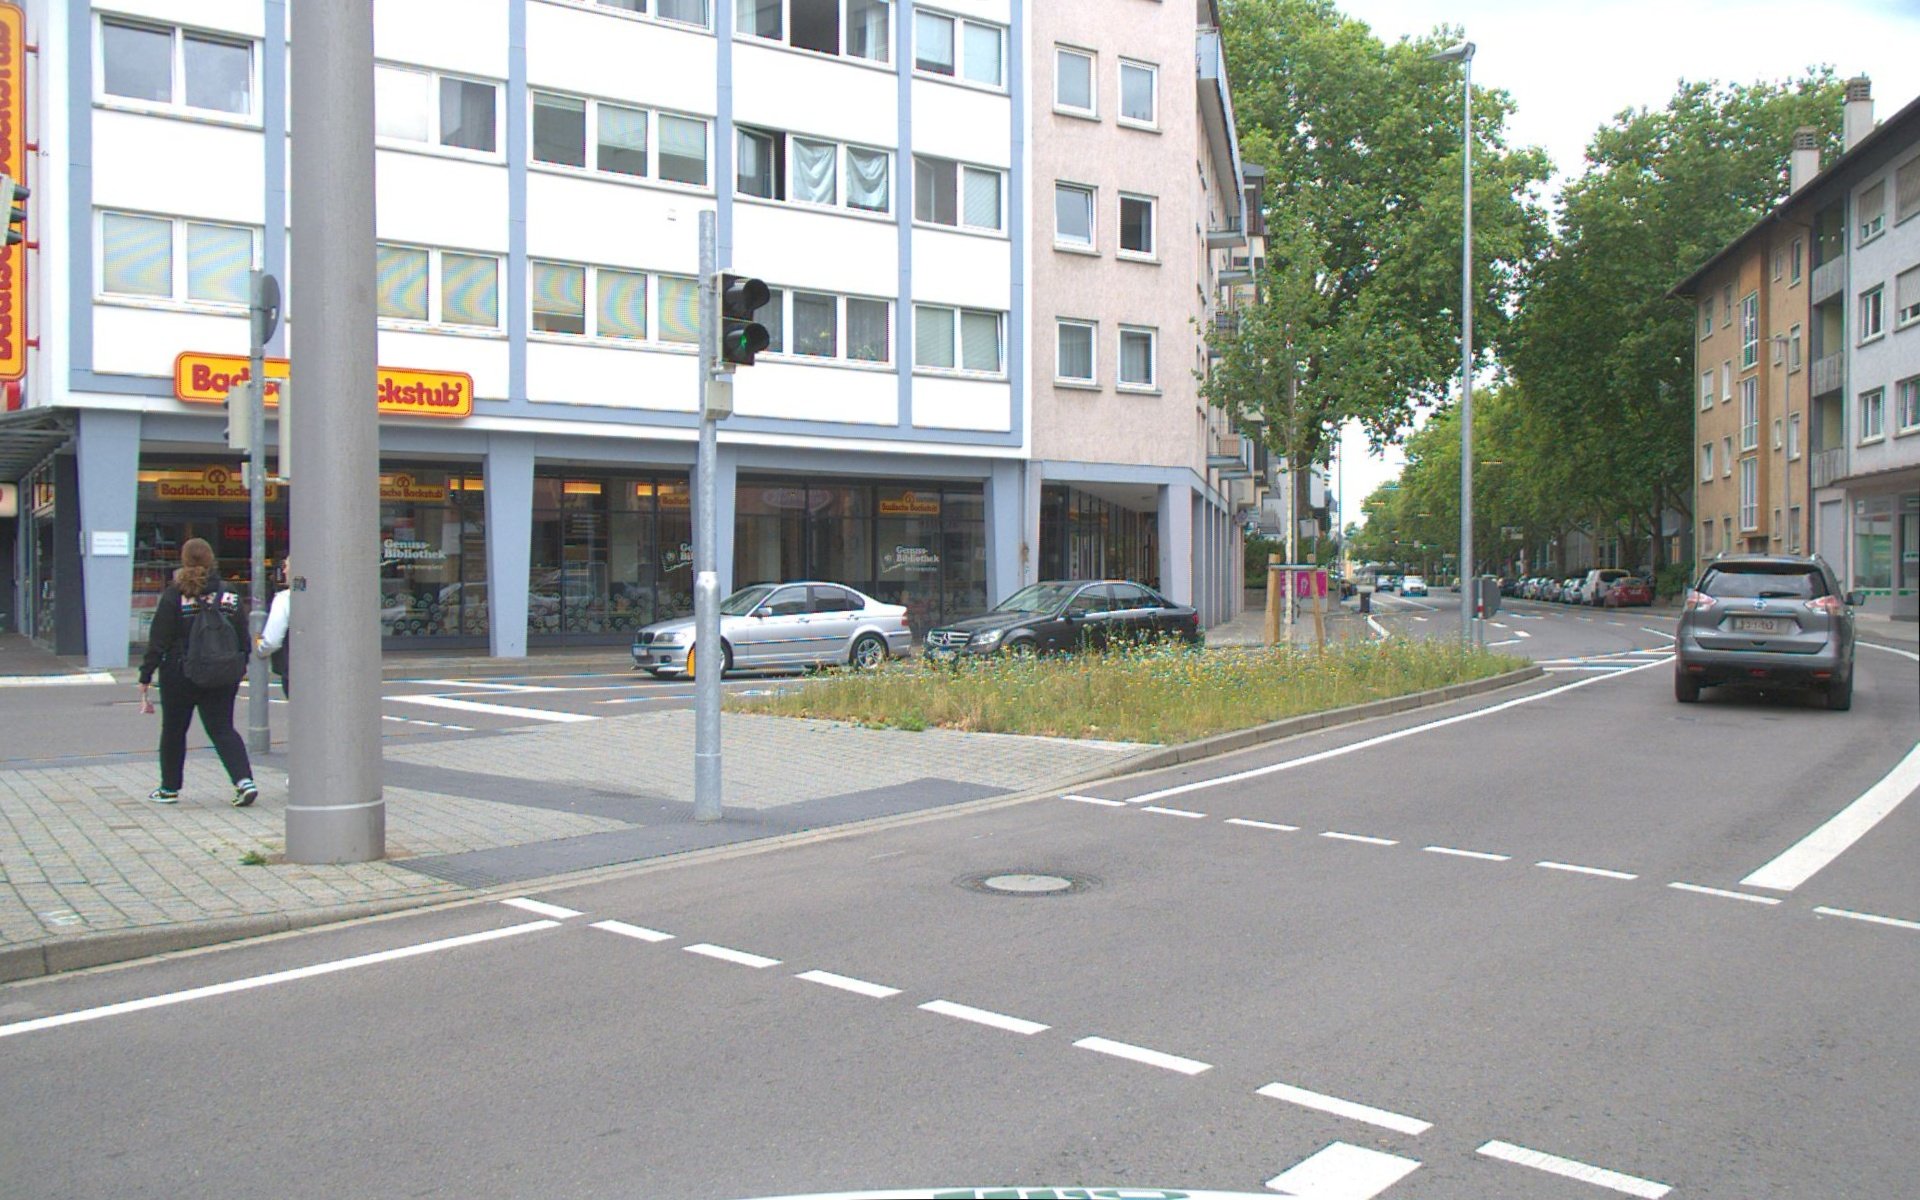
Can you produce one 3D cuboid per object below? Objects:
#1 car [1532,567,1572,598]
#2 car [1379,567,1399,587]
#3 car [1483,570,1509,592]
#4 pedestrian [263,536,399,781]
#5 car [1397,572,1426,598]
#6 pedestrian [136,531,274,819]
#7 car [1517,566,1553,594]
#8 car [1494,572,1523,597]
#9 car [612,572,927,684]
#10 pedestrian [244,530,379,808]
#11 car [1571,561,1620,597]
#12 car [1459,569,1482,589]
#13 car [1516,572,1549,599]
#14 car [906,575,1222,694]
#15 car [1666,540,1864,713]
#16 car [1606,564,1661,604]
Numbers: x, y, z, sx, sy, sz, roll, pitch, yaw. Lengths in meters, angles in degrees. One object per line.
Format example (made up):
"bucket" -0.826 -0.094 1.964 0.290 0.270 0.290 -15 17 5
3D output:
"car" 36.079 -1.100 100.843 1.823 1.805 3.987 1 2 14
"car" 42.138 -2.265 162.407 1.823 1.805 3.987 1 2 14
"car" 46.575 -1.679 143.787 1.823 1.805 3.987 1 2 14
"pedestrian" -5.037 0.443 13.230 0.709 1.864 1.002 1 0 -41
"car" 32.569 -1.122 119.389 1.823 1.805 3.987 1 2 14
"pedestrian" -4.923 0.467 10.782 0.617 1.792 0.768 1 0 -41
"car" 38.550 -1.351 110.944 1.823 1.805 3.987 1 2 14
"car" 42.523 -1.231 128.277 1.823 1.805 3.987 1 2 14
"car" -2.834 0.371 25.139 4.516 1.507 1.726 -2 1 -36
"pedestrian" -4.393 0.445 11.197 0.617 1.792 0.768 1 0 -41
"car" 32.982 -1.119 85.898 1.823 1.805 3.987 1 2 14
"car" 48.980 -2.035 158.647 1.823 1.805 3.987 1 2 14
"car" 40.149 -1.007 116.031 1.823 1.805 3.987 1 2 14
"car" 1.564 0.438 23.889 4.516 1.507 1.726 -2 1 -36
"car" 9.739 0.226 19.815 1.828 1.805 4.559 1 2 30
"car" 31.696 -0.773 77.912 1.823 1.805 3.987 1 2 14
